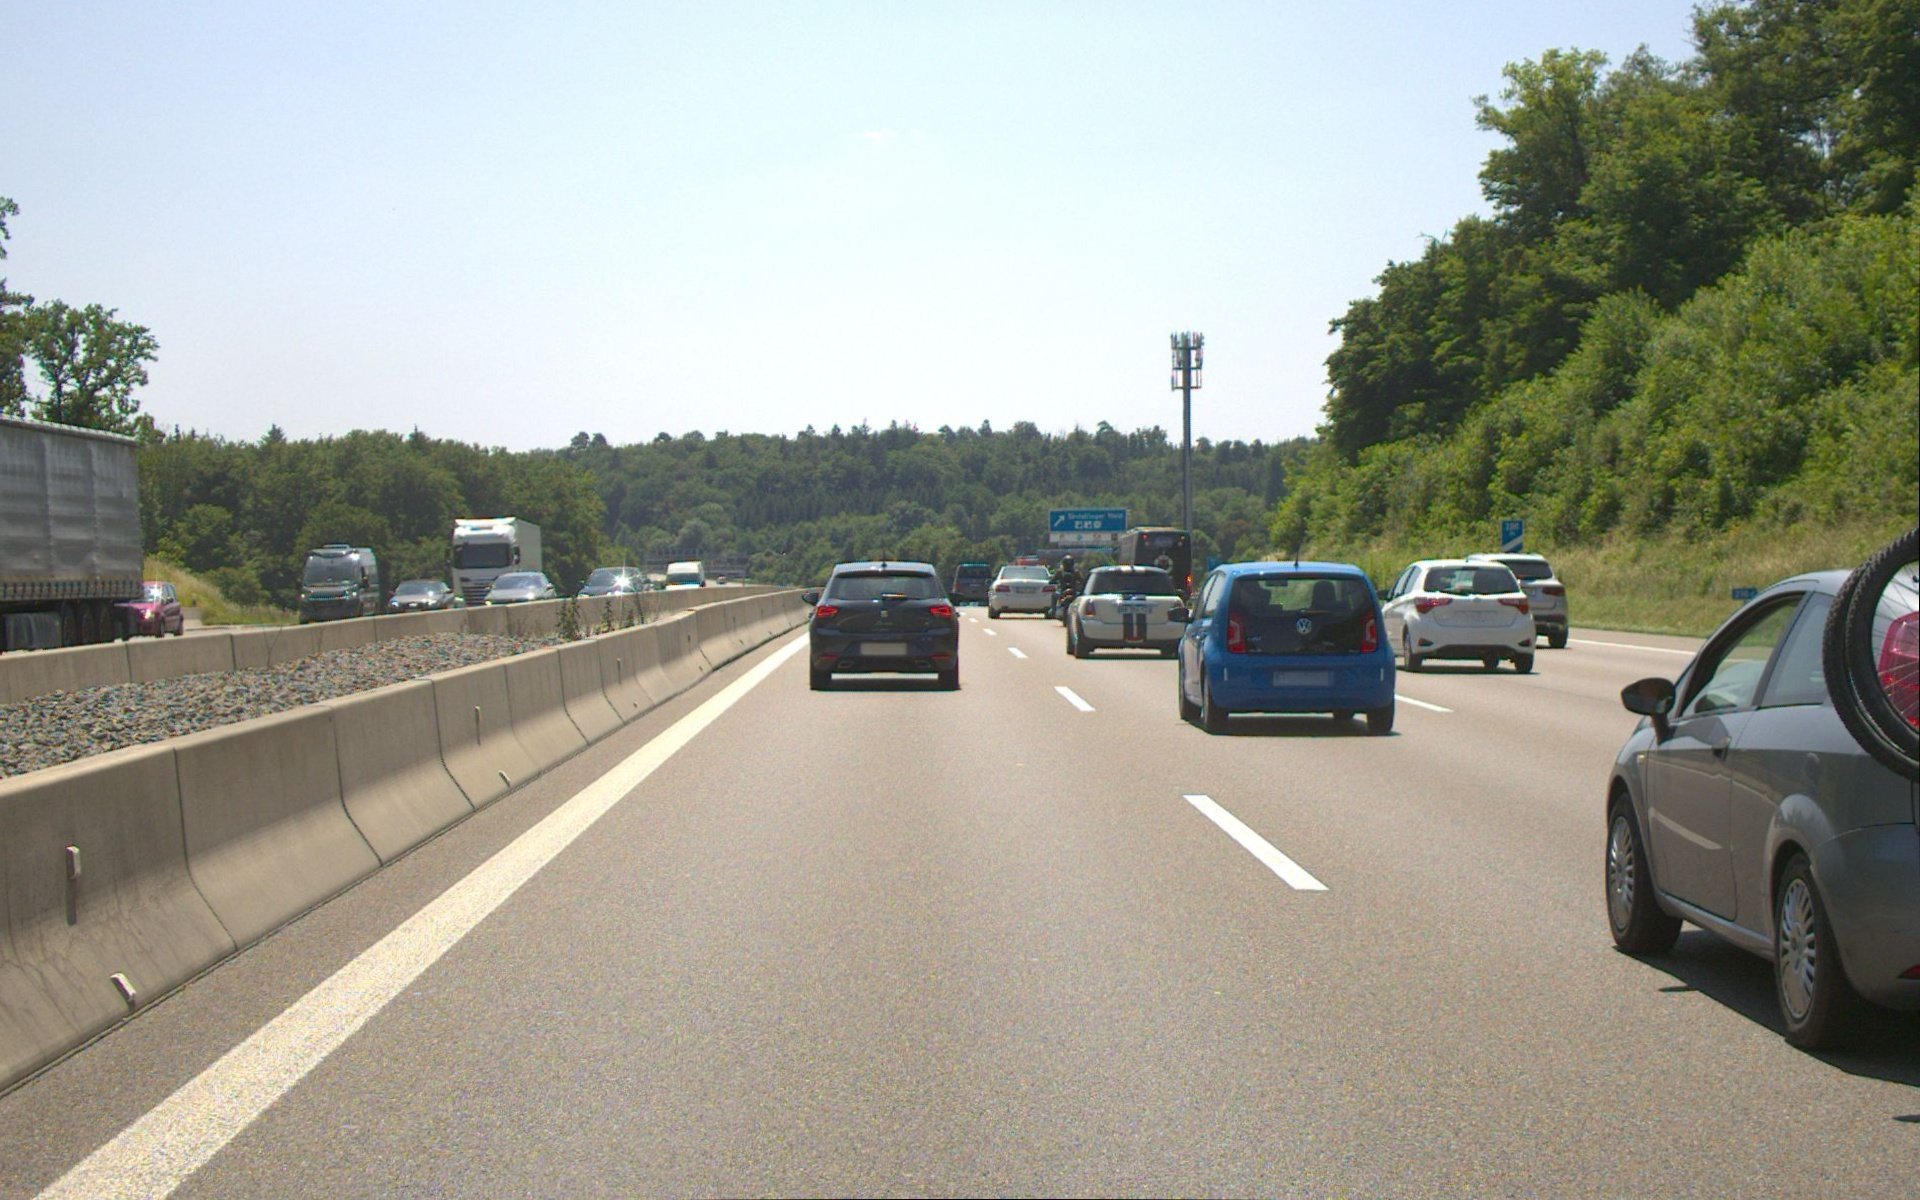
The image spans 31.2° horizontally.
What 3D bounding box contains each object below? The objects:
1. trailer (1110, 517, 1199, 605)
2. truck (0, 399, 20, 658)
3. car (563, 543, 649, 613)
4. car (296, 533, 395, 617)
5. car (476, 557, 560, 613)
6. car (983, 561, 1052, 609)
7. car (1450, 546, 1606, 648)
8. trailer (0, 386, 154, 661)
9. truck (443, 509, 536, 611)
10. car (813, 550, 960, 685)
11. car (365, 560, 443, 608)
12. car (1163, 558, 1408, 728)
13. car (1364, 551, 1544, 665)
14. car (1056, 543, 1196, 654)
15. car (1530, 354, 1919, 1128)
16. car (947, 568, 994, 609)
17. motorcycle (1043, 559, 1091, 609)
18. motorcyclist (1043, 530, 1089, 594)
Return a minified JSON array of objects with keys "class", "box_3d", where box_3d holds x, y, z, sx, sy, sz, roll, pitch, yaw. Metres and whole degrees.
[{"class":"trailer","box_3d":[8.853,-1.716,157.949,2.857,3.675,13.542,-1,-1,-2]},{"class":"truck","box_3d":[-16.282,-1.034,50.242,3.265,3.969,6.798,-1,1,-1]},{"class":"car","box_3d":[-9.303,-0.592,90.653,1.871,1.771,4.469,-1,1,-1]},{"class":"car","box_3d":[-20.698,-0.855,116.064,2.140,2.654,6.780,-2,1,-1]},{"class":"car","box_3d":[-13.026,-0.426,101.604,2.027,1.500,5.442,-3,0,-4]},{"class":"car","box_3d":[1.567,-0.418,94.379,1.782,1.261,3.460,-1,1,0]},{"class":"car","box_3d":[10.094,-0.084,61.412,1.801,1.725,5.239,1,1,-1]},{"class":"trailer","box_3d":[-16.416,-1.190,56.818,3.100,4.239,13.841,-2,1,-1]},{"class":"truck","box_3d":[-19.405,-1.673,142.145,2.894,4.055,7.790,-1,1,-1]},{"class":"car","box_3d":[-0.835,0.165,39.910,1.624,1.482,3.685,0,1,-1]},{"class":"car","box_3d":[-16.722,-0.495,103.578,1.667,1.402,4.440,-1,1,-1]},{"class":"car","box_3d":[2.817,0.361,30.506,1.737,1.406,4.000,0,0,-1]},{"class":"car","box_3d":[6.609,0.077,46.396,1.666,1.428,4.376,-1,1,-2]},{"class":"car","box_3d":[2.501,-0.048,52.611,1.841,1.546,4.000,3,1,0]},{"class":"car","box_3d":[3.312,0.326,11.485,1.961,2.046,4.784,0,1,-1]},{"class":"car","box_3d":[0.507,-0.559,165.167,2.097,1.845,4.081,-1,1,-2]},{"class":"motorcycle","box_3d":[2.482,-0.375,79.854,0.977,1.125,2.271,-1,1,-1]},{"class":"motorcyclist","box_3d":[2.463,-0.879,79.872,0.962,1.433,1.235,-2,0,-2]}]
